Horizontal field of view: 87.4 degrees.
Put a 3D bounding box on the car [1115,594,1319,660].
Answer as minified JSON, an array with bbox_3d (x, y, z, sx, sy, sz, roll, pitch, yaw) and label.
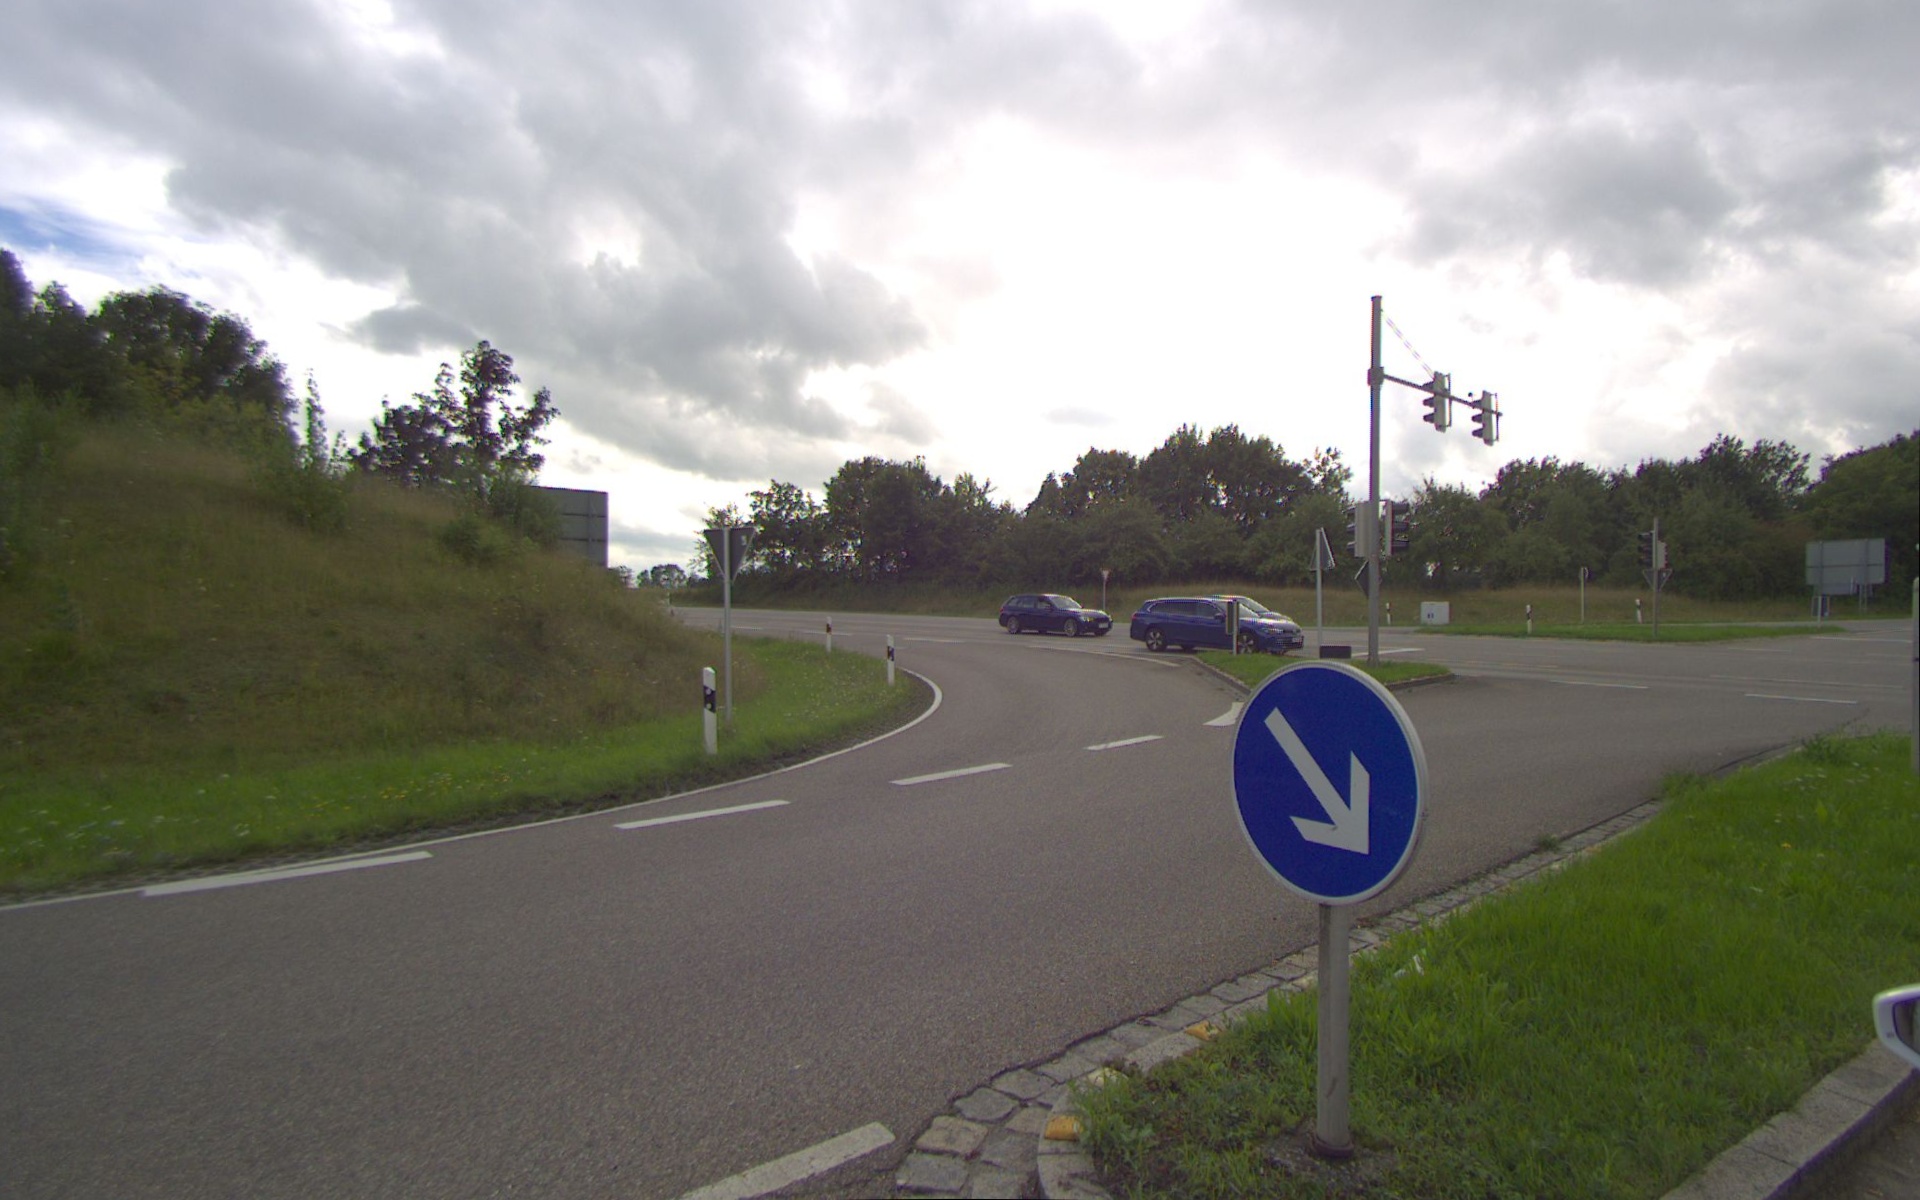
[{"bbox_3d":[6.855,0.648,27.249,2.038,1.555,5.058,-1,1,-45],"label":"car"}]

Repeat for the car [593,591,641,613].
[{"bbox_3d":[-27.744,0.161,81.116,3.937,1.712,1.841,1,0,38],"label":"car"}]

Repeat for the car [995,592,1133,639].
[{"bbox_3d":[3.670,0.507,36.126,2.041,1.504,4.818,-2,2,-44],"label":"car"}]
